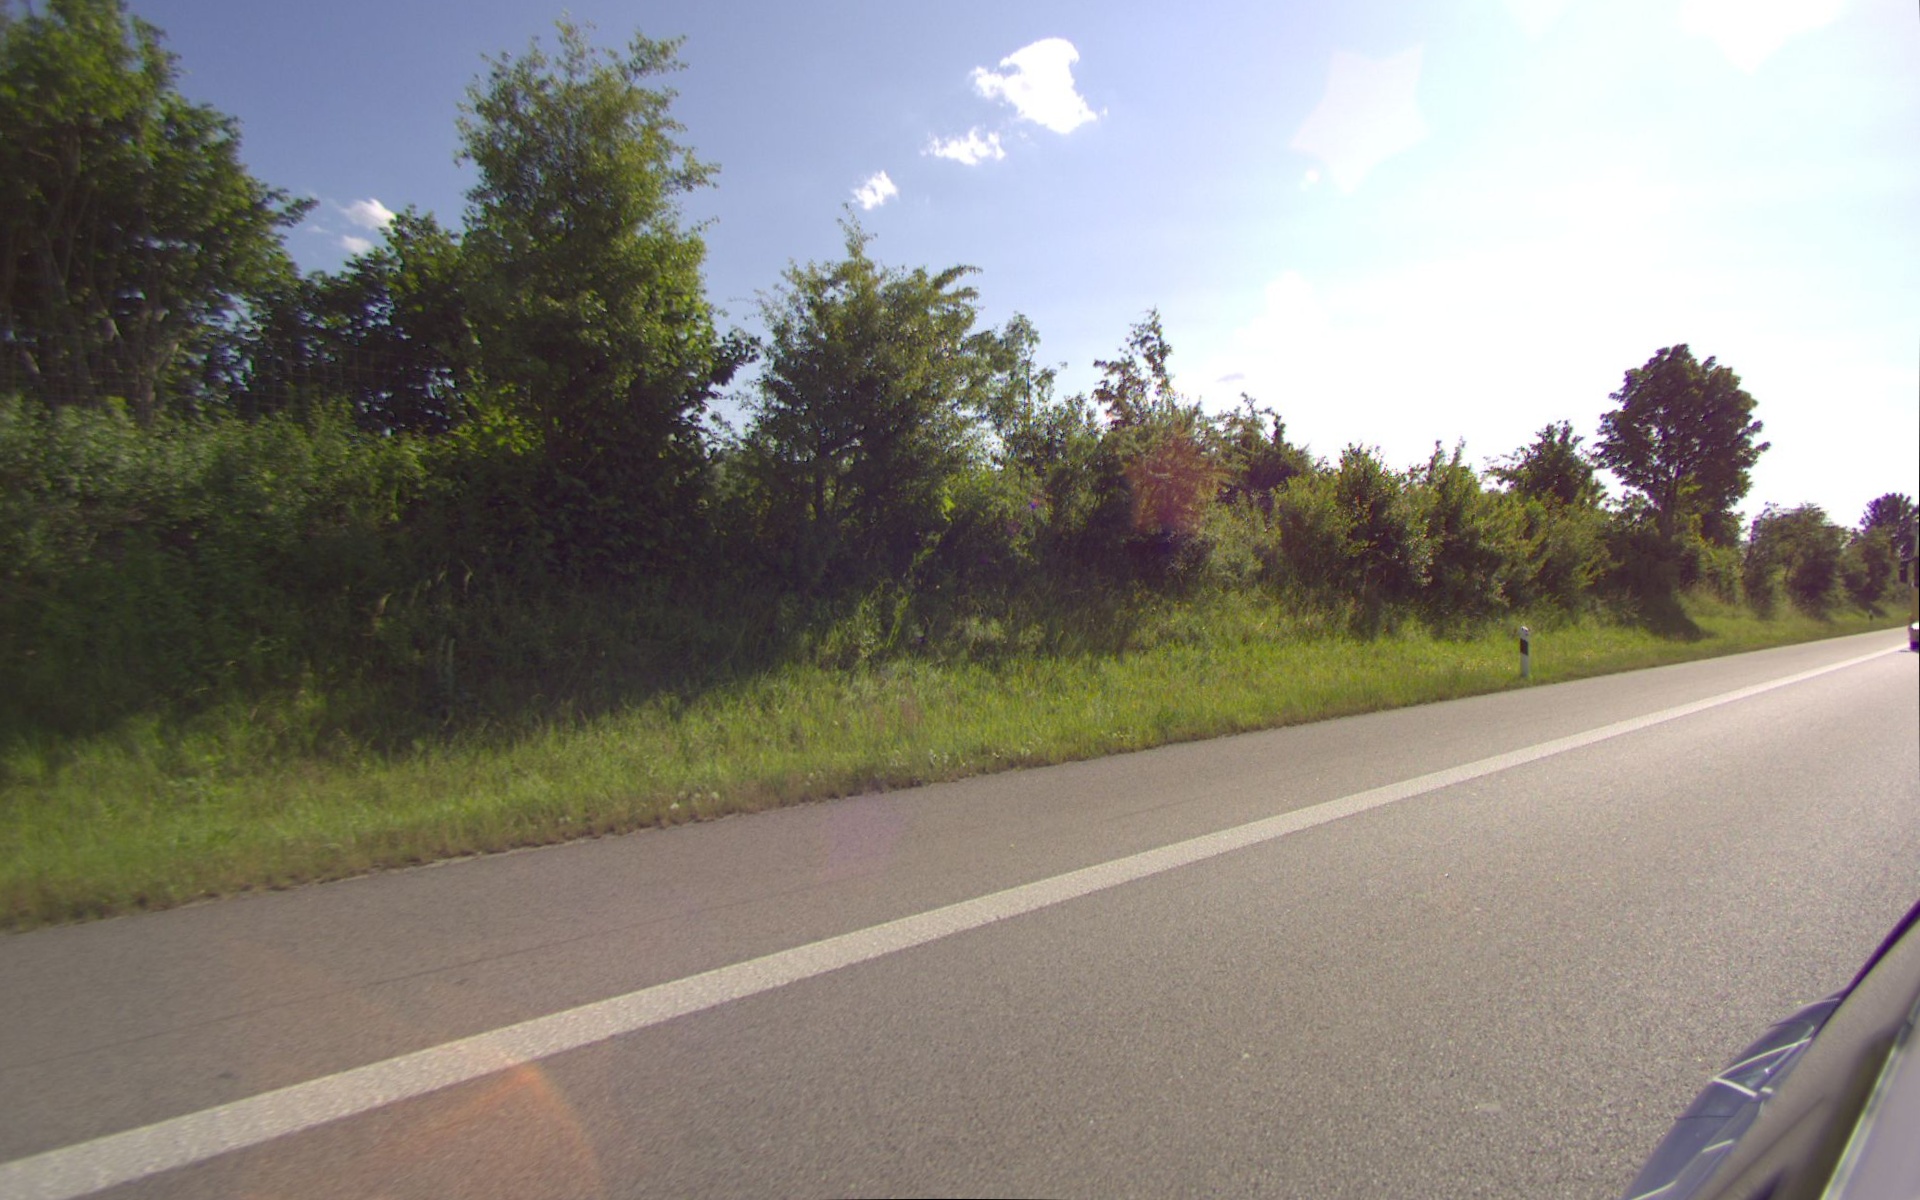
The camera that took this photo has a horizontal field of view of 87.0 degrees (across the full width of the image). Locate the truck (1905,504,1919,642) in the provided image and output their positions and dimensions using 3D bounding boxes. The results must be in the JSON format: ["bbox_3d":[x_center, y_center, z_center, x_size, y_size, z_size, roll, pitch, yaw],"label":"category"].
[{"bbox_3d":[32.234,-0.854,31.921,6.282,4.166,3.171,-1,0,-44],"label":"truck"}]

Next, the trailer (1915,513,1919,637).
[{"bbox_3d":[37.418,-0.884,36.675,12.963,4.111,3.188,-1,0,-43],"label":"trailer"}]
